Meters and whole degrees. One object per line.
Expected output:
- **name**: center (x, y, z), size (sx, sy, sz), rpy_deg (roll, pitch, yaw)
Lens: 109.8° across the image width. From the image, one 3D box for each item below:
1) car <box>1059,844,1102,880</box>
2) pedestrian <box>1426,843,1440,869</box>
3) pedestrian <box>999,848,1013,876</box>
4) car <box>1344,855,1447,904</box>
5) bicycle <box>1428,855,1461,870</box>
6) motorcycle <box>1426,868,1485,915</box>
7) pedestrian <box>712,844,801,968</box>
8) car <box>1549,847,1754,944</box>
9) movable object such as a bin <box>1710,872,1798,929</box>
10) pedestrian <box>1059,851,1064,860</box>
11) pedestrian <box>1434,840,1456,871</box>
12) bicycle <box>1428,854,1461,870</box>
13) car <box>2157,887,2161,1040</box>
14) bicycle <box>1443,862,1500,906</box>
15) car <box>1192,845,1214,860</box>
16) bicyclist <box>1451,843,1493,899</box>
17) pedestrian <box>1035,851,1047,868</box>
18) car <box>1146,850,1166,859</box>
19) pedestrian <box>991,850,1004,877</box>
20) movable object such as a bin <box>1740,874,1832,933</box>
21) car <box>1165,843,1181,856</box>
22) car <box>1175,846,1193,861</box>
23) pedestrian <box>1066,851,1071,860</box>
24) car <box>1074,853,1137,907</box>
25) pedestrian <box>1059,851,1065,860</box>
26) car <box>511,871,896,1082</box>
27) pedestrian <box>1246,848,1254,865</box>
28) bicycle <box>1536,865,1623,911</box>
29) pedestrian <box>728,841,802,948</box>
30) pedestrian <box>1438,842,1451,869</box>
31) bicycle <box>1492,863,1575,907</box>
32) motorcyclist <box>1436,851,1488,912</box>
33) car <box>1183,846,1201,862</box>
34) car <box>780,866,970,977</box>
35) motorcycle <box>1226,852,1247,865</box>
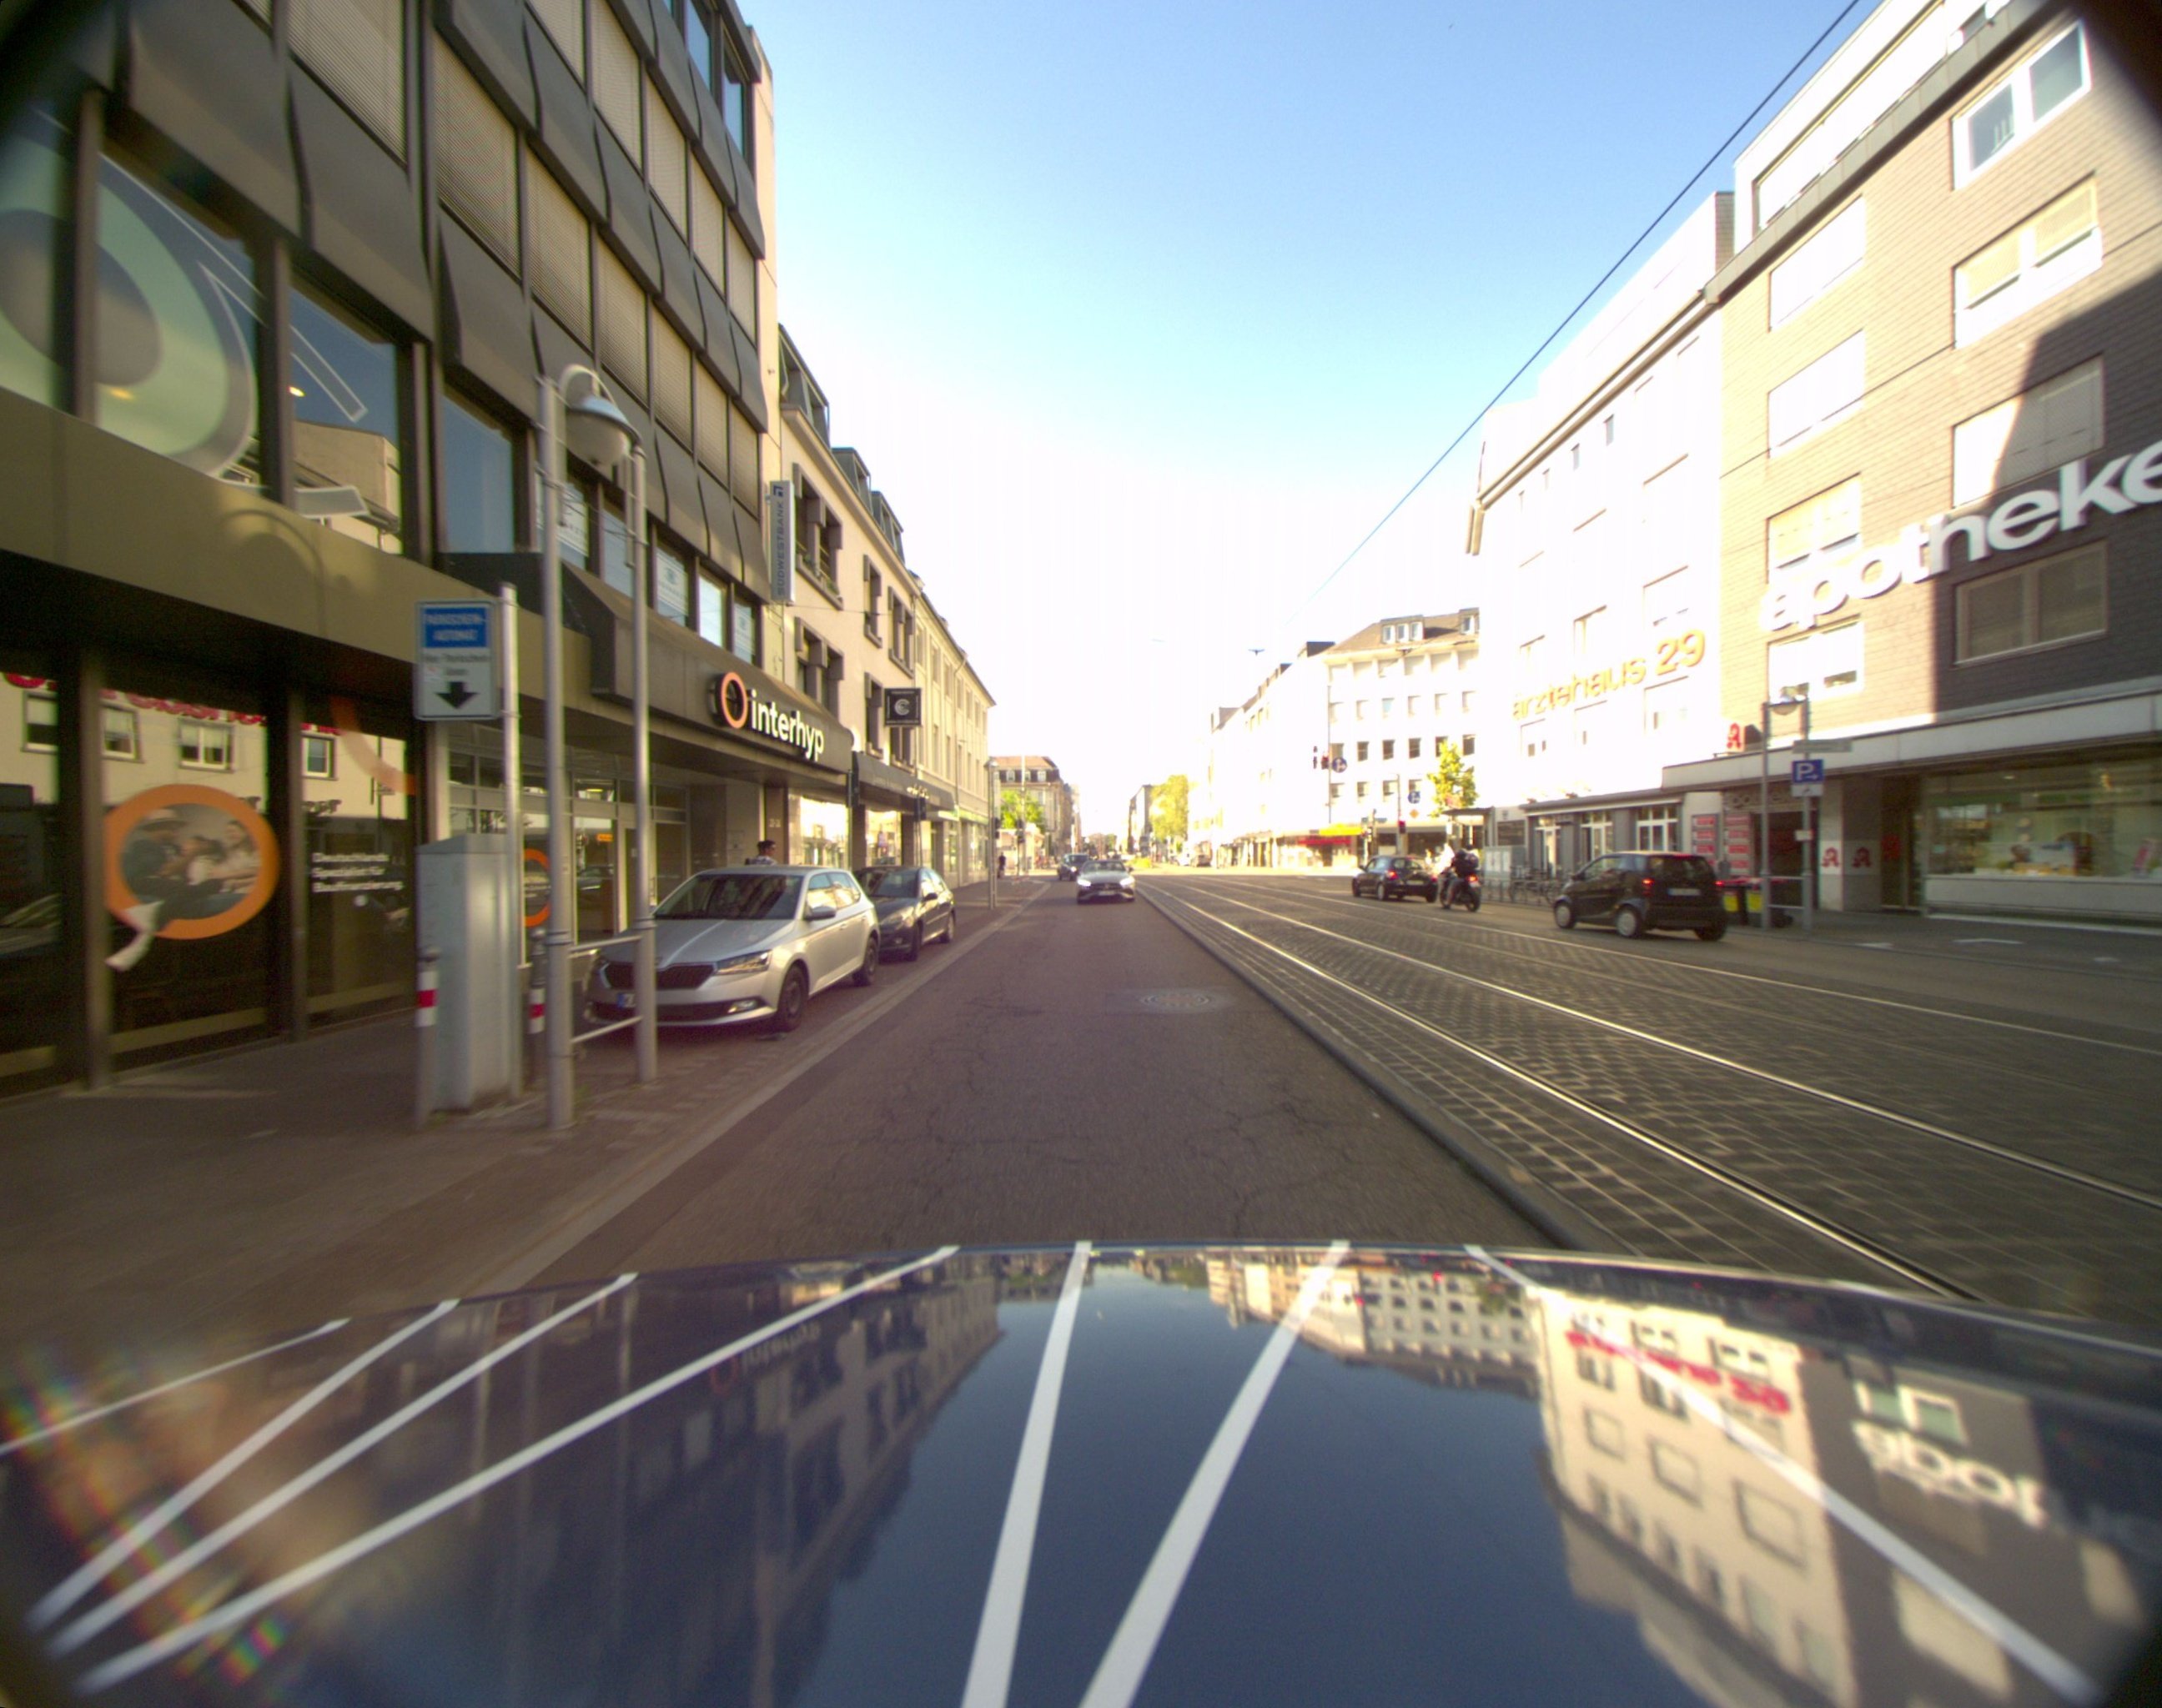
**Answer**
- **car**: center (-0.077, 0.428, 45.285), size (1.911, 1.860, 4.093), rpy_deg (-2, 2, -9)
- **pedestrian**: center (22.954, 0.132, 49.532), size (0.653, 1.703, 0.793), rpy_deg (-1, 1, 10)
- **pedestrian**: center (-4.926, 0.540, 50.093), size (0.680, 1.831, 0.643), rpy_deg (-1, 1, 25)
- **car**: center (10.204, 0.762, 25.001), size (1.717, 1.437, 4.139), rpy_deg (1, 0, 2)
- **bicycle**: center (23.203, 0.527, 48.514), size (1.791, 0.962, 0.554), rpy_deg (-1, 0, 13)
- **motorcycle**: center (9.916, 0.962, 20.207), size (0.571, 1.113, 2.117), rpy_deg (0, 1, 1)
- **pedestrian**: center (-5.047, 0.775, 11.877), size (0.925, 1.832, 0.999), rpy_deg (1, 1, 2)
- **car**: center (10.163, 0.662, 13.789), size (1.652, 1.557, 2.829), rpy_deg (-1, 1, 2)
- **movable object such as a bin**: center (13.617, 0.931, 15.400), size (1.102, 1.065, 0.735), rpy_deg (-2, 1, 1)
- **pedestrian**: center (-2.698, 0.242, 104.906), size (0.622, 1.266, 0.779), rpy_deg (-1, 1, -2)
- **pedestrian**: center (22.918, 0.104, 47.837), size (1.000, 1.855, 0.781), rpy_deg (-1, -2, 11)
- **bicycle**: center (22.889, 0.521, 47.855), size (1.722, 1.001, 0.762), rpy_deg (-1, -2, 13)
- **car**: center (9.719, 0.751, 4.066), size (1.894, 1.585, 4.263), rpy_deg (0, 1, 2)
- **bicycle**: center (12.211, 0.908, 23.833), size (0.752, 1.286, 2.025), rpy_deg (-1, 1, 1)
- **car**: center (14.679, -0.169, 91.345), size (1.998, 1.696, 4.000), rpy_deg (-1, 0, 1)
- **bicyclist**: center (12.226, 0.511, 23.793), size (0.752, 1.719, 1.146), rpy_deg (-1, 1, 2)
- **pedestrian**: center (-4.002, 0.535, 75.912), size (0.947, 1.654, 0.915), rpy_deg (-1, 1, -26)
- **car**: center (15.265, 0.124, 154.941), size (3.996, 1.787, 2.000), rpy_deg (-1, 0, 2)
- **pedestrian**: center (-5.520, 0.607, 50.147), size (0.648, 1.749, 0.575), rpy_deg (-1, 2, 25)
- **movable object such as a bin**: center (13.590, 0.938, 14.674), size (1.102, 1.057, 0.699), rpy_deg (-2, 1, 1)
- **car**: center (14.049, -0.718, 116.578), size (1.998, 2.002, 4.000), rpy_deg (-1, 0, 1)
- **car**: center (14.198, -0.110, 105.305), size (1.998, 2.002, 4.000), rpy_deg (-1, 0, 1)
- **pedestrian**: center (-1.717, 0.247, 105.222), size (0.509, 1.266, 0.719), rpy_deg (-1, 1, -7)
- **car**: center (0.801, 0.803, 25.807), size (1.910, 1.454, 4.362), rpy_deg (-2, 2, 1)
- **pedestrian**: center (-3.190, 0.300, 129.123), size (0.946, 1.456, 0.780), rpy_deg (-1, 1, 3)
- **car**: center (-3.346, 0.968, 7.830), size (1.749, 1.453, 4.295), rpy_deg (0, 0, 1)
- **pedestrian**: center (16.945, 0.260, 76.132), size (0.710, 1.699, 0.561), rpy_deg (-1, 0, 22)
- **bicycle**: center (13.878, 0.931, 21.177), size (1.940, 1.166, 0.773), rpy_deg (-2, 1, -4)
- **pedestrian**: center (-5.375, 0.660, 12.985), size (0.781, 1.742, 1.032), rpy_deg (-1, 1, 2)
- **pedestrian**: center (23.212, 0.093, 48.546), size (0.558, 1.718, 0.781), rpy_deg (-1, 1, 11)
- **bicycle**: center (13.806, 0.926, 23.207), size (2.109, 1.216, 0.773), rpy_deg (-2, 1, -4)
- **motorcyclist**: center (9.955, 0.698, 19.911), size (0.805, 1.549, 1.146), rpy_deg (0, 1, 2)
- **car**: center (14.500, 0.050, 99.635), size (1.998, 2.002, 4.843), rpy_deg (-1, 0, 4)
- **car**: center (-3.204, 0.971, 12.797), size (1.852, 1.453, 4.302), rpy_deg (0, 0, 3)
- **motorcycle**: center (18.618, 0.584, 90.910), size (2.254, 1.496, 1.000), rpy_deg (-1, 0, -2)
